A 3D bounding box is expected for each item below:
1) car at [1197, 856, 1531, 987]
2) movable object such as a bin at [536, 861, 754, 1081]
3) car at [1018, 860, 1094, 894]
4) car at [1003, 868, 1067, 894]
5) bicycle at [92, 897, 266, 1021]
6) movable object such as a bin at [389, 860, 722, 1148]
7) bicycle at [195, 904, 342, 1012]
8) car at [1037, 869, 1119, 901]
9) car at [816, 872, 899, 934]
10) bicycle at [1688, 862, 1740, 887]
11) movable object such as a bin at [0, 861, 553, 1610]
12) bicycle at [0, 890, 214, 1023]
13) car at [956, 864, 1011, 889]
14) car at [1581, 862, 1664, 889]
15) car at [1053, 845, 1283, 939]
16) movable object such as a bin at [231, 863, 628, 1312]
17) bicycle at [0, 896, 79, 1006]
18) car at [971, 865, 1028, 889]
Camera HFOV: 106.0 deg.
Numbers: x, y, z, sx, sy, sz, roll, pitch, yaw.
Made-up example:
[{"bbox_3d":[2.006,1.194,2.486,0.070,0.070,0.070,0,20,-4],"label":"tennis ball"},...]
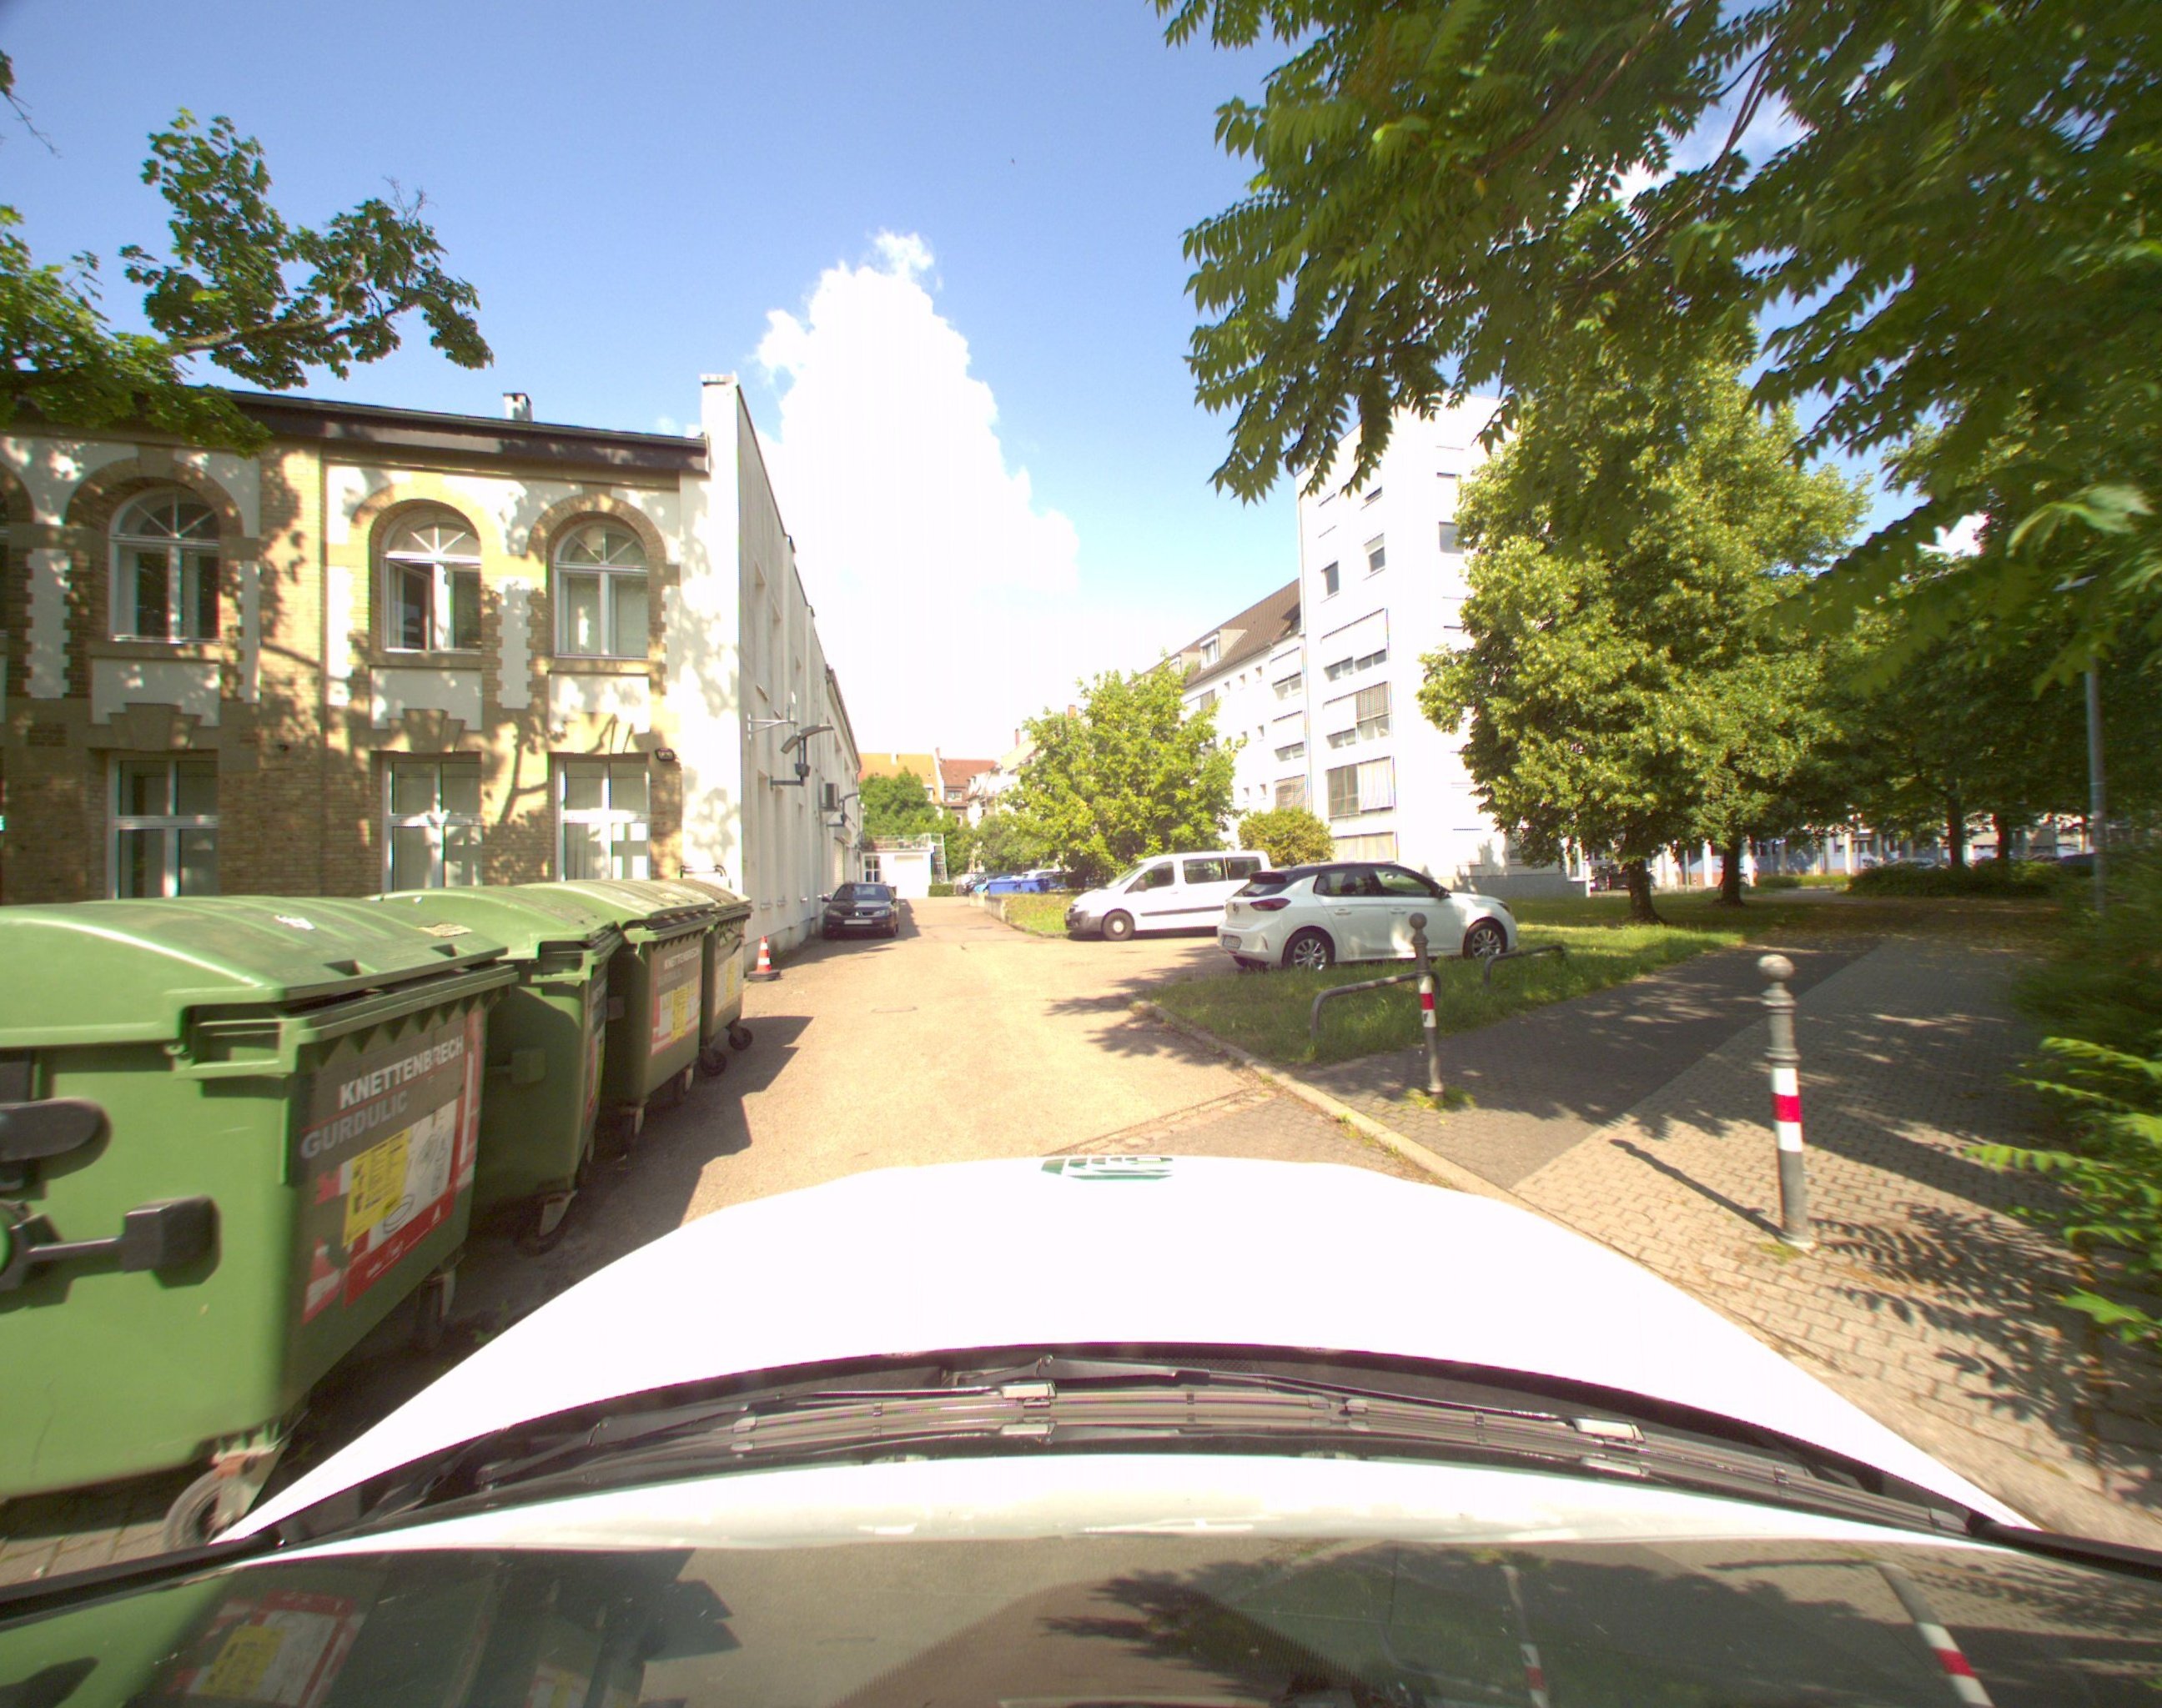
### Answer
[{"bbox_3d":[3.722,0.799,10.914,3.910,1.420,1.750,-1,1,-15],"label":"car"},{"bbox_3d":[-3.254,0.810,6.271,1.100,1.451,1.338,1,1,-11],"label":"movable object such as a bin"},{"bbox_3d":[-1.472,1.311,46.987,3.999,1.745,1.937,-1,2,-19],"label":"car"},{"bbox_3d":[-3.065,1.766,54.447,3.999,1.444,1.619,-2,3,-19],"label":"car"},{"bbox_3d":[-10.216,1.132,9.317,0.357,1.142,1.851,1,1,-14],"label":"bicycle"},{"bbox_3d":[-2.990,0.782,4.875,1.224,1.452,1.278,1,-1,-11],"label":"movable object such as a bin"},{"bbox_3d":[-9.589,1.177,9.694,0.319,1.037,1.851,1,0,-14],"label":"bicycle"},{"bbox_3d":[-0.161,1.671,44.116,4.124,1.606,1.744,1,1,-19],"label":"car"},{"bbox_3d":[-5.782,1.215,21.458,1.881,1.442,4.320,1,-1,-13],"label":"car"},{"bbox_3d":[37.657,1.212,48.453,2.845,1.420,0.799,-1,1,-13],"label":"bicycle"},{"bbox_3d":[-2.343,0.774,2.263,1.102,1.451,1.336,1,1,-17],"label":"movable object such as a bin"},{"bbox_3d":[-11.074,1.089,9.296,0.418,1.215,2.060,1,1,-9],"label":"bicycle"},{"bbox_3d":[-7.658,1.775,63.659,3.999,1.817,1.653,1,1,-19],"label":"car"},{"bbox_3d":[31.011,1.211,46.694,3.907,1.420,1.751,-1,1,-13],"label":"car"},{"bbox_3d":[1.961,0.832,18.983,4.943,1.965,1.992,-1,-1,-12],"label":"car"},{"bbox_3d":[-2.610,0.790,3.508,1.106,1.451,1.223,1,1,-28],"label":"movable object such as a bin"},{"bbox_3d":[-12.191,1.150,8.794,0.418,1.122,2.061,1,4,-9],"label":"bicycle"},{"bbox_3d":[-6.118,1.700,60.848,3.999,1.573,1.619,-2,3,-19],"label":"car"}]
